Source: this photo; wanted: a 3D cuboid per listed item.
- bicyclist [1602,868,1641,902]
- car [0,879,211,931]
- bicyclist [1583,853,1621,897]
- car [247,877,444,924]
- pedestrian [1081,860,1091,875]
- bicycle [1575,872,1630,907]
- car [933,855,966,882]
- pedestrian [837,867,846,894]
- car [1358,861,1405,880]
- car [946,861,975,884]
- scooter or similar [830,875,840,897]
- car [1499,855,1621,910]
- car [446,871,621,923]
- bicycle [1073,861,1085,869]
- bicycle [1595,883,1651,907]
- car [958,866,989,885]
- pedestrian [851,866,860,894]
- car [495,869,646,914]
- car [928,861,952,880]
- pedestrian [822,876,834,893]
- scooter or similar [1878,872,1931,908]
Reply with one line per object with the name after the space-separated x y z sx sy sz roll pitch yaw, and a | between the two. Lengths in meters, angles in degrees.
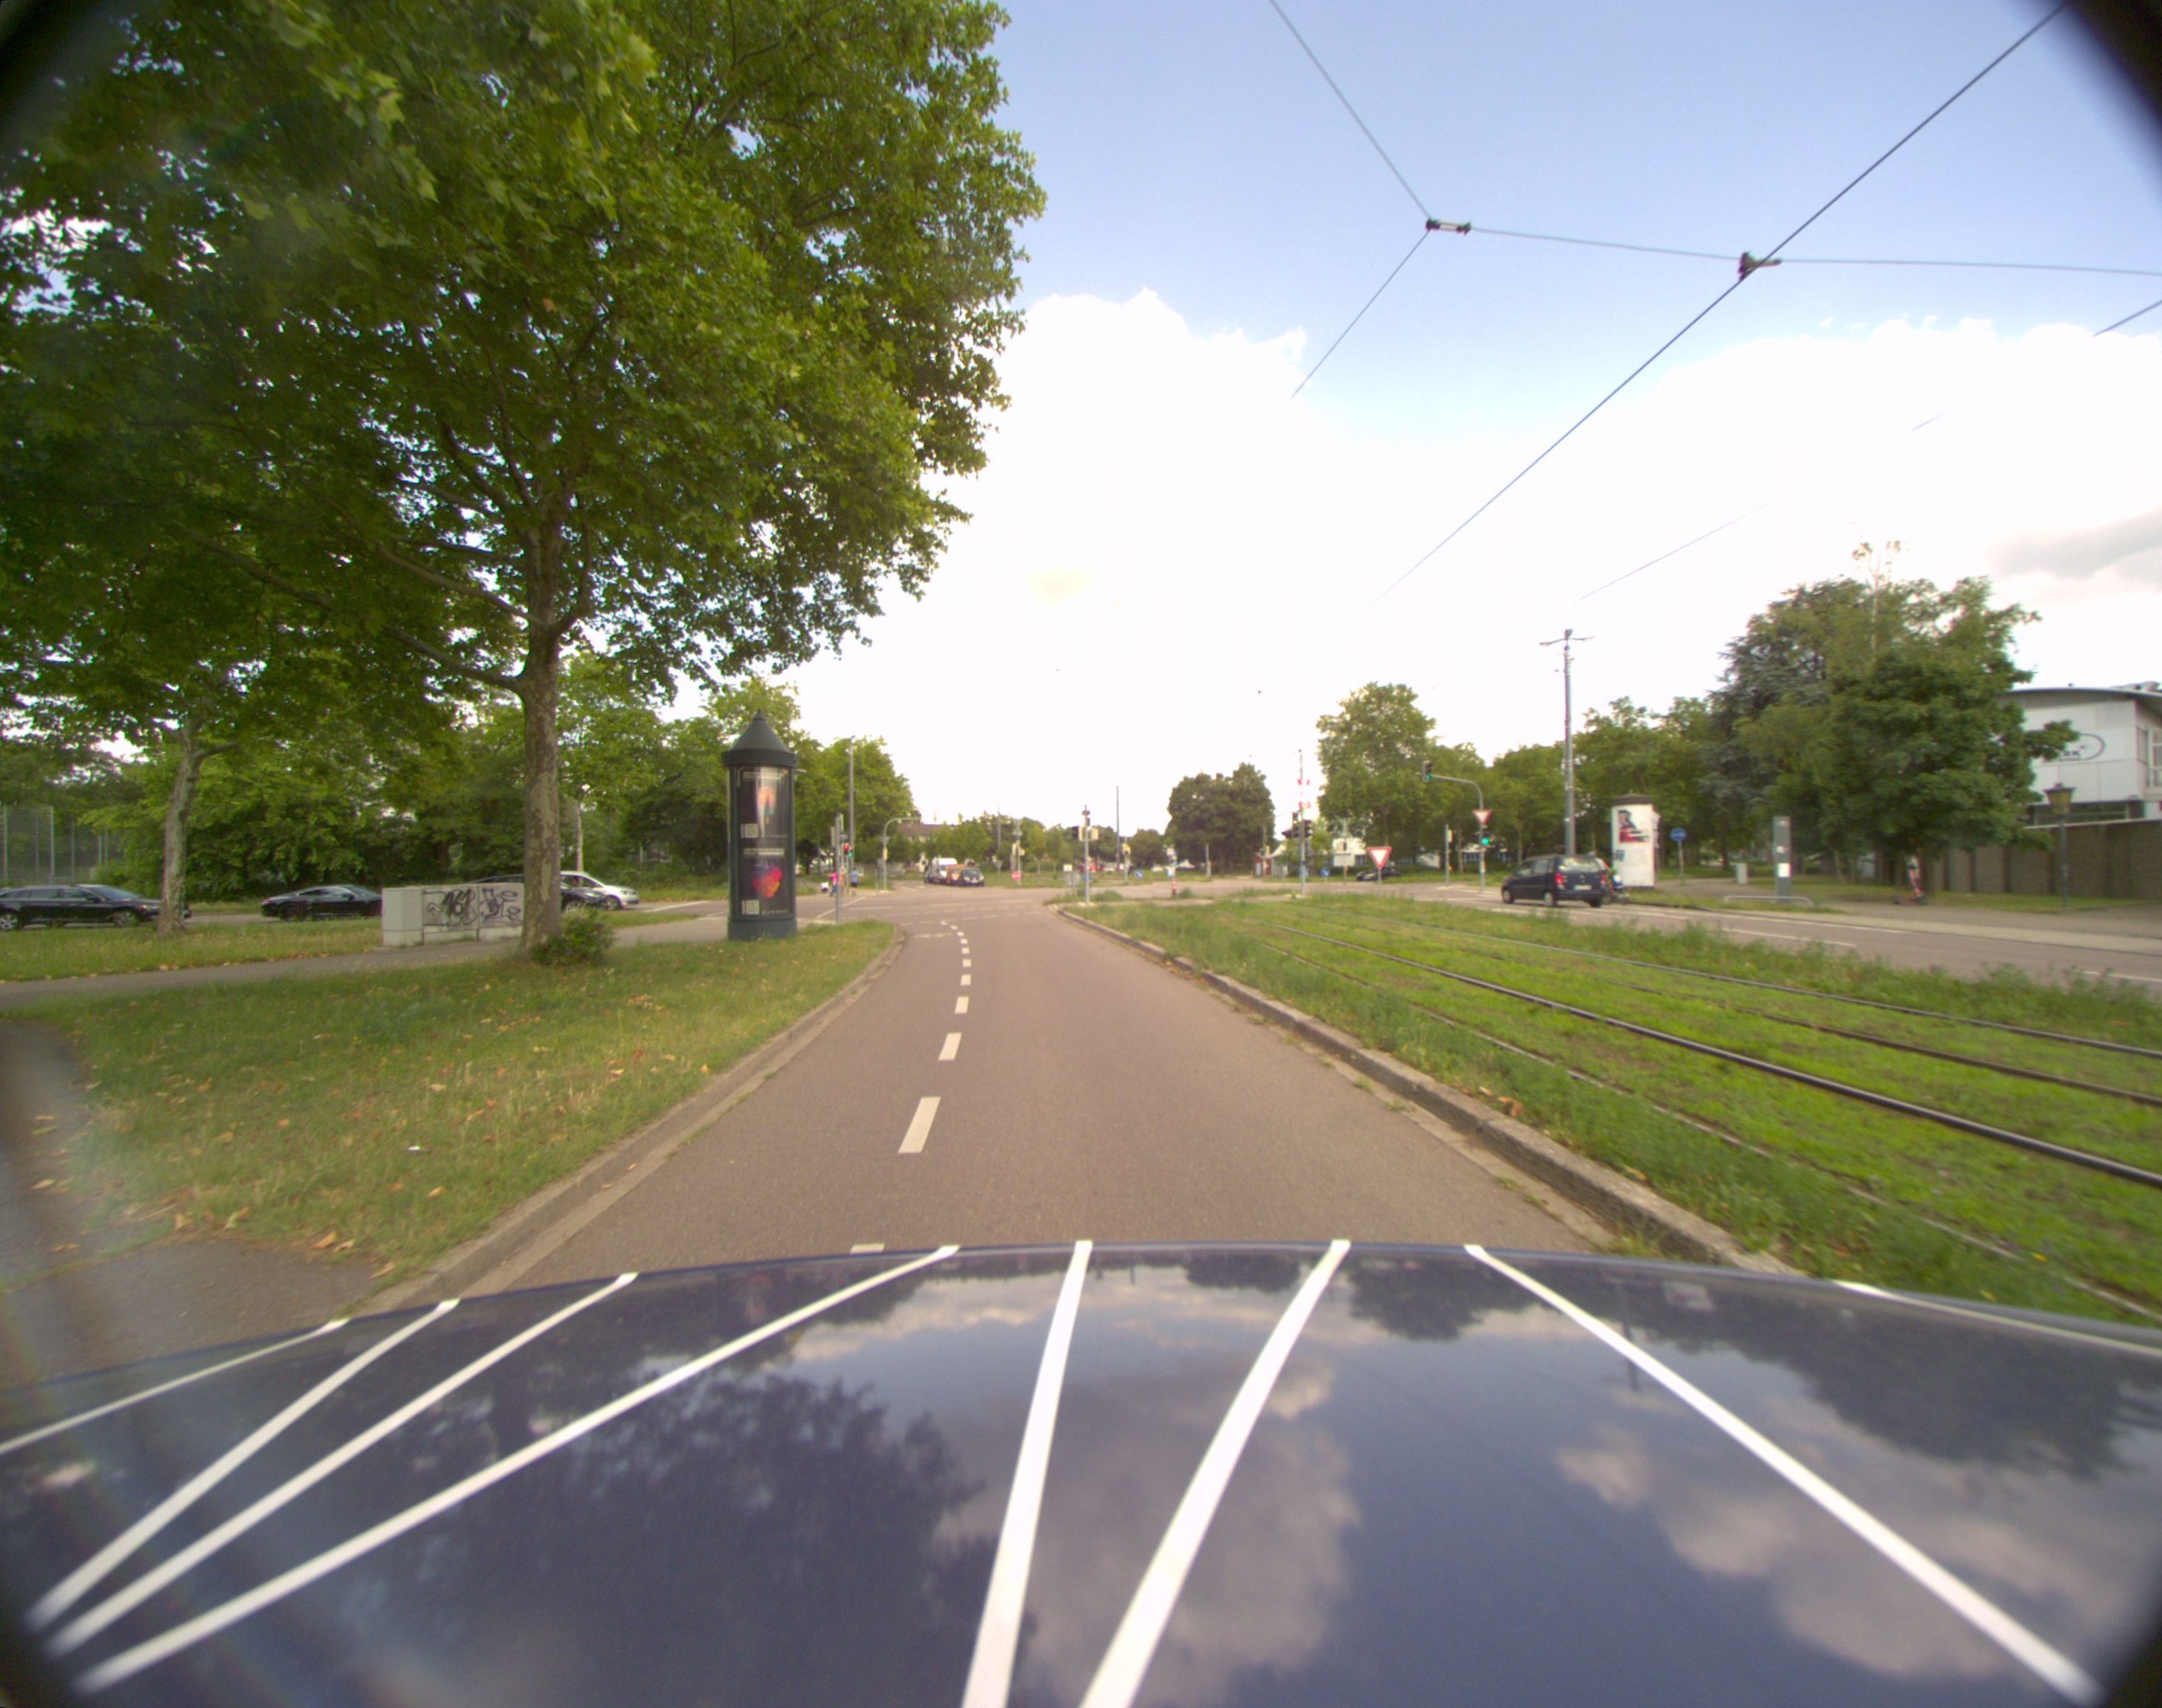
18.037 1.019 25.371 0.641 1.106 0.929 -1 0 3 | bicyclist
-33.438 1.693 25.800 4.691 1.504 1.996 -1 0 -20 | car
17.348 0.696 25.309 0.624 1.449 0.929 -1 0 3 | bicyclist
-26.820 1.653 27.942 4.754 1.461 1.996 -1 0 -20 | car
0.652 1.714 96.881 0.909 1.856 1.000 -1 0 -22 | pedestrian
17.369 1.164 25.350 0.647 1.073 1.805 -1 0 3 | bicycle
-13.052 1.443 75.214 2.242 2.492 5.716 -1 0 -20 | car
-13.245 1.472 42.064 0.420 1.499 0.392 -1 0 -21 | pedestrian
25.306 1.405 63.951 3.863 1.514 1.695 -1 0 -32 | car
-10.995 1.653 69.009 1.798 1.924 4.362 -1 0 -19 | car
-13.523 1.763 41.712 0.396 1.154 1.114 -1 0 -23 | scooter or similar
15.331 0.852 24.547 1.783 1.617 3.496 -1 0 1 | car
-19.344 1.487 27.126 4.691 1.601 1.996 -1 0 -20 | car
-0.321 1.513 102.246 0.805 1.053 2.066 -1 -2 -24 | bicycle
18.041 1.351 25.318 0.647 0.713 1.805 -1 0 3 | bicycle
-8.986 1.754 63.257 1.798 1.530 3.994 -1 0 -18 | car
-12.478 1.436 41.994 0.420 1.499 0.450 -1 0 -21 | pedestrian
-20.428 1.477 30.649 4.691 1.601 1.996 -1 0 -20 | car
-15.004 1.734 80.595 1.798 1.924 4.362 -1 0 -20 | car
-16.178 1.948 48.569 0.723 1.028 0.900 -1 0 -20 | pedestrian
24.855 1.079 22.952 0.427 1.027 1.224 -1 0 11 | scooter or similar
